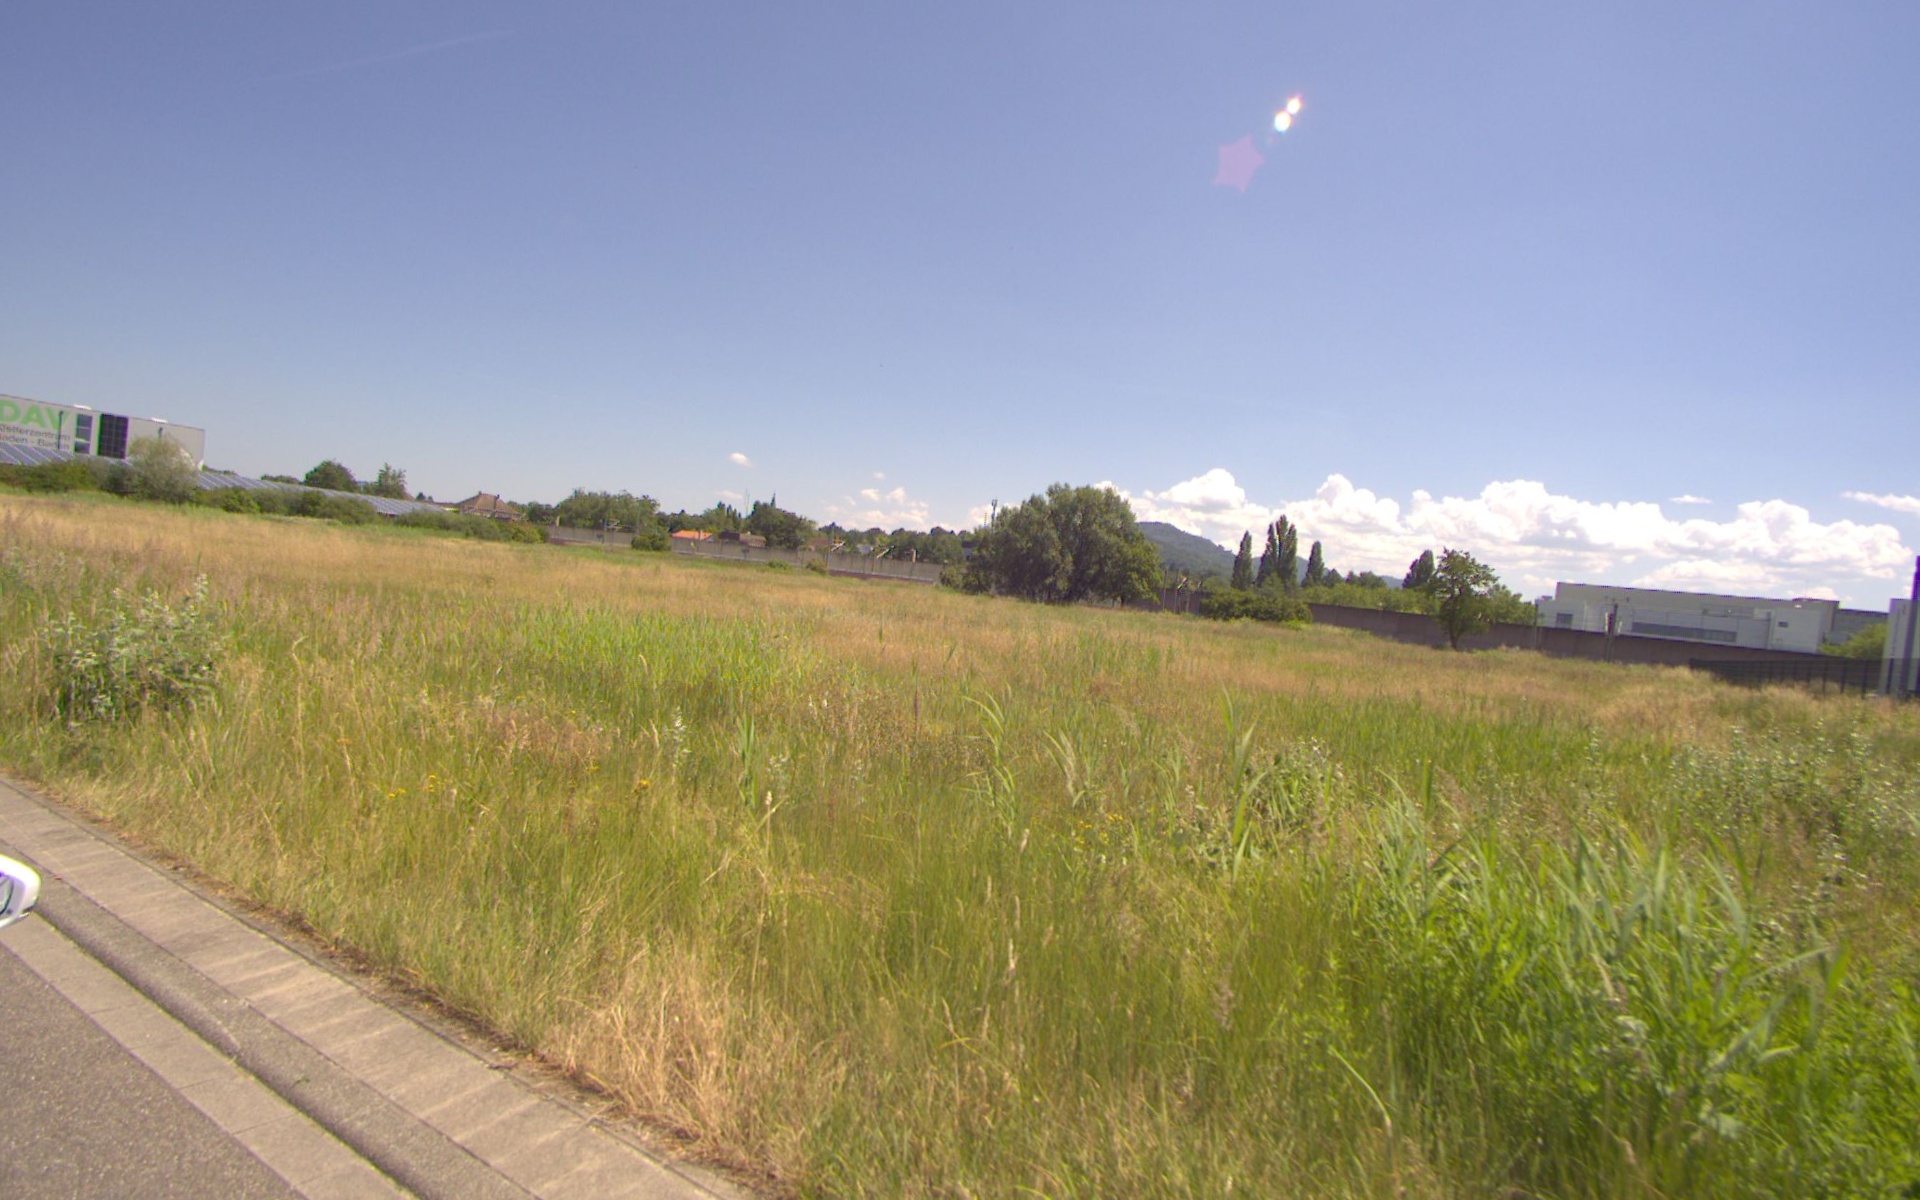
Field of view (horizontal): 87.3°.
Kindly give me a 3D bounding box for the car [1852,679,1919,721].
[{"bbox_3d":[49.643,5.320,52.682,3.934,1.808,1.995,7,1,32],"label":"car"}]
